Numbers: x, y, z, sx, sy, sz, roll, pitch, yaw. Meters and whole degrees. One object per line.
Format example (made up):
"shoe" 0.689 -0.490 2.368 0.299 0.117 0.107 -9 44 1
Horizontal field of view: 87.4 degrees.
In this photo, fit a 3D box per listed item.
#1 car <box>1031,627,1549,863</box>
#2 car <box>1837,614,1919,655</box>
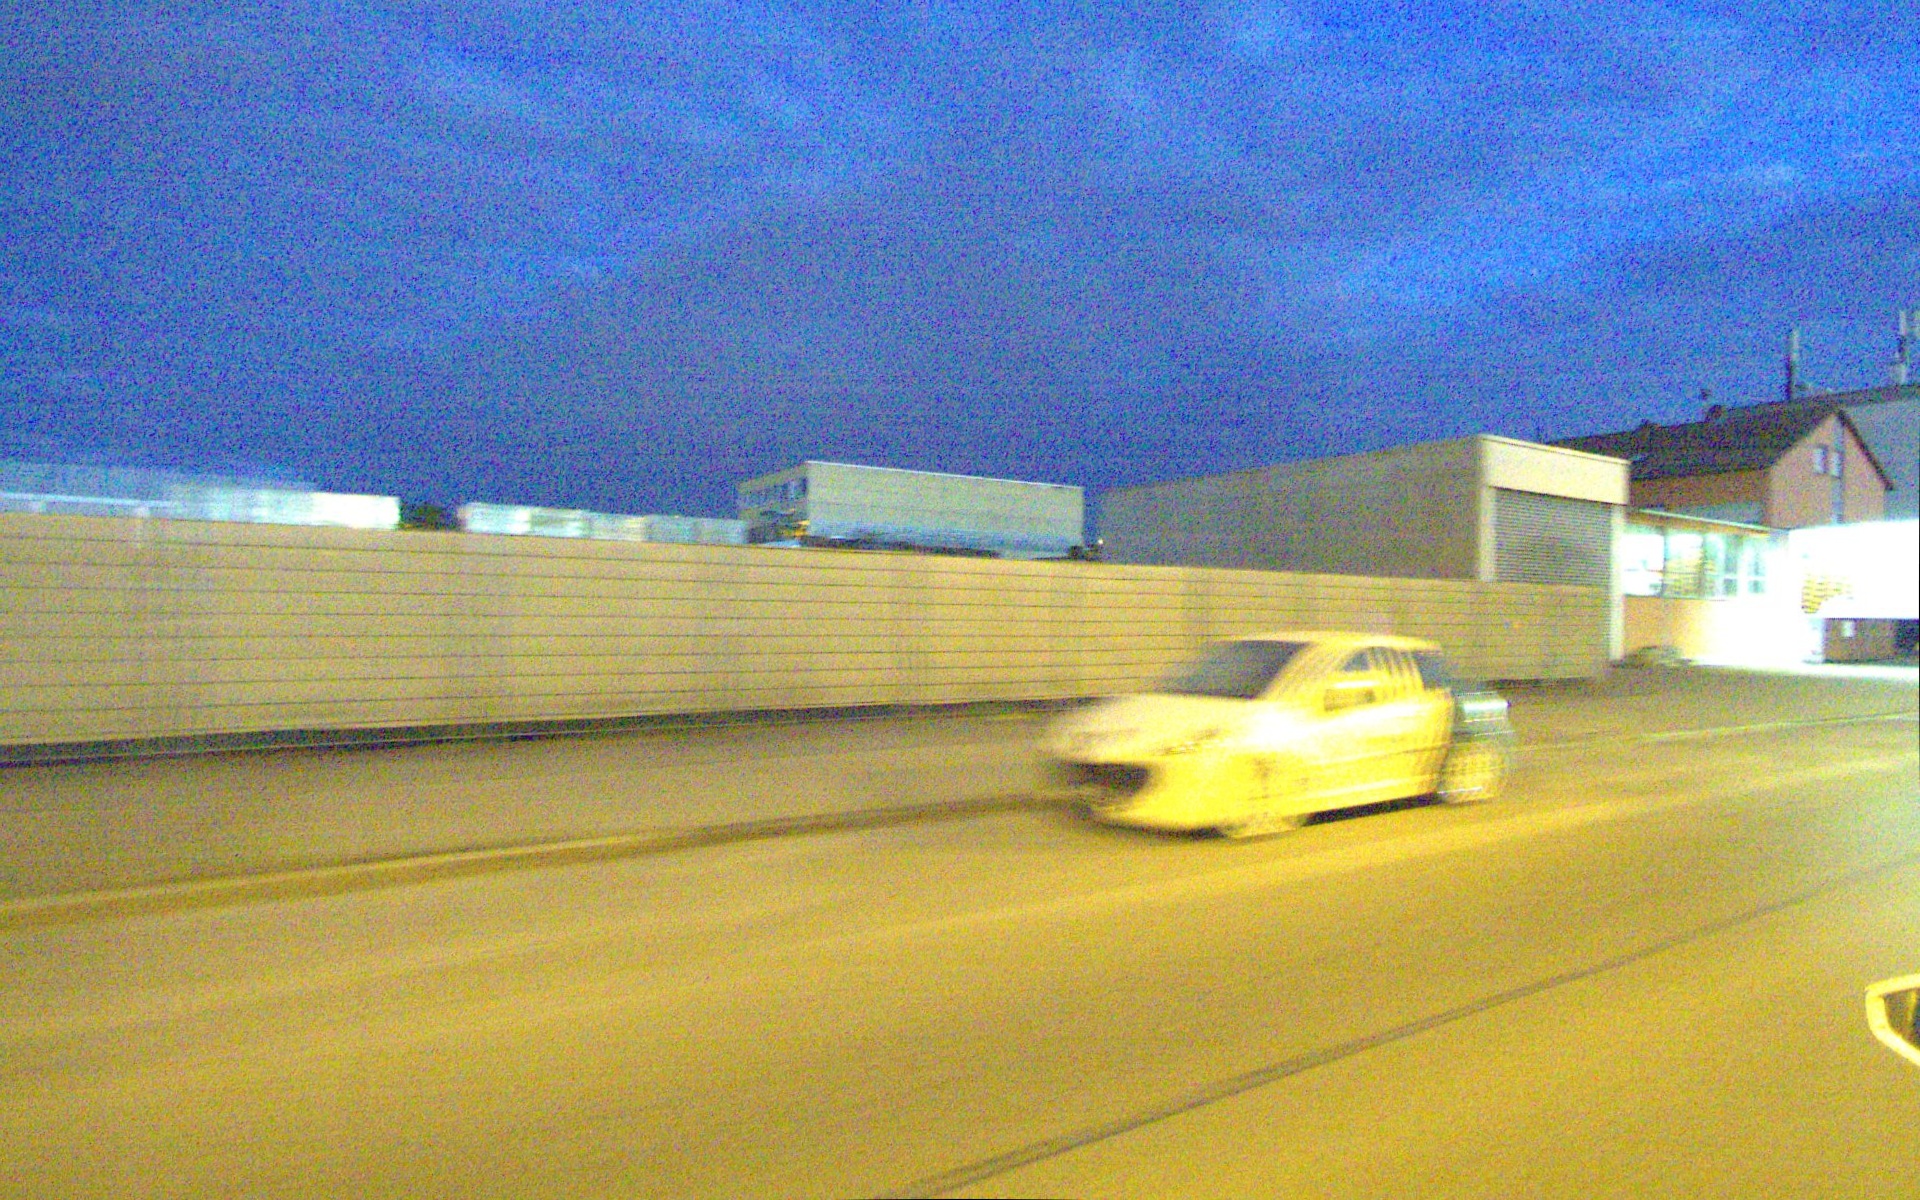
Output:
"car" 2.717 0.967 8.080 3.954 1.439 1.832 1 -1 -31
"car" 39.680 1.446 42.152 1.979 1.673 3.964 1 -1 -33
